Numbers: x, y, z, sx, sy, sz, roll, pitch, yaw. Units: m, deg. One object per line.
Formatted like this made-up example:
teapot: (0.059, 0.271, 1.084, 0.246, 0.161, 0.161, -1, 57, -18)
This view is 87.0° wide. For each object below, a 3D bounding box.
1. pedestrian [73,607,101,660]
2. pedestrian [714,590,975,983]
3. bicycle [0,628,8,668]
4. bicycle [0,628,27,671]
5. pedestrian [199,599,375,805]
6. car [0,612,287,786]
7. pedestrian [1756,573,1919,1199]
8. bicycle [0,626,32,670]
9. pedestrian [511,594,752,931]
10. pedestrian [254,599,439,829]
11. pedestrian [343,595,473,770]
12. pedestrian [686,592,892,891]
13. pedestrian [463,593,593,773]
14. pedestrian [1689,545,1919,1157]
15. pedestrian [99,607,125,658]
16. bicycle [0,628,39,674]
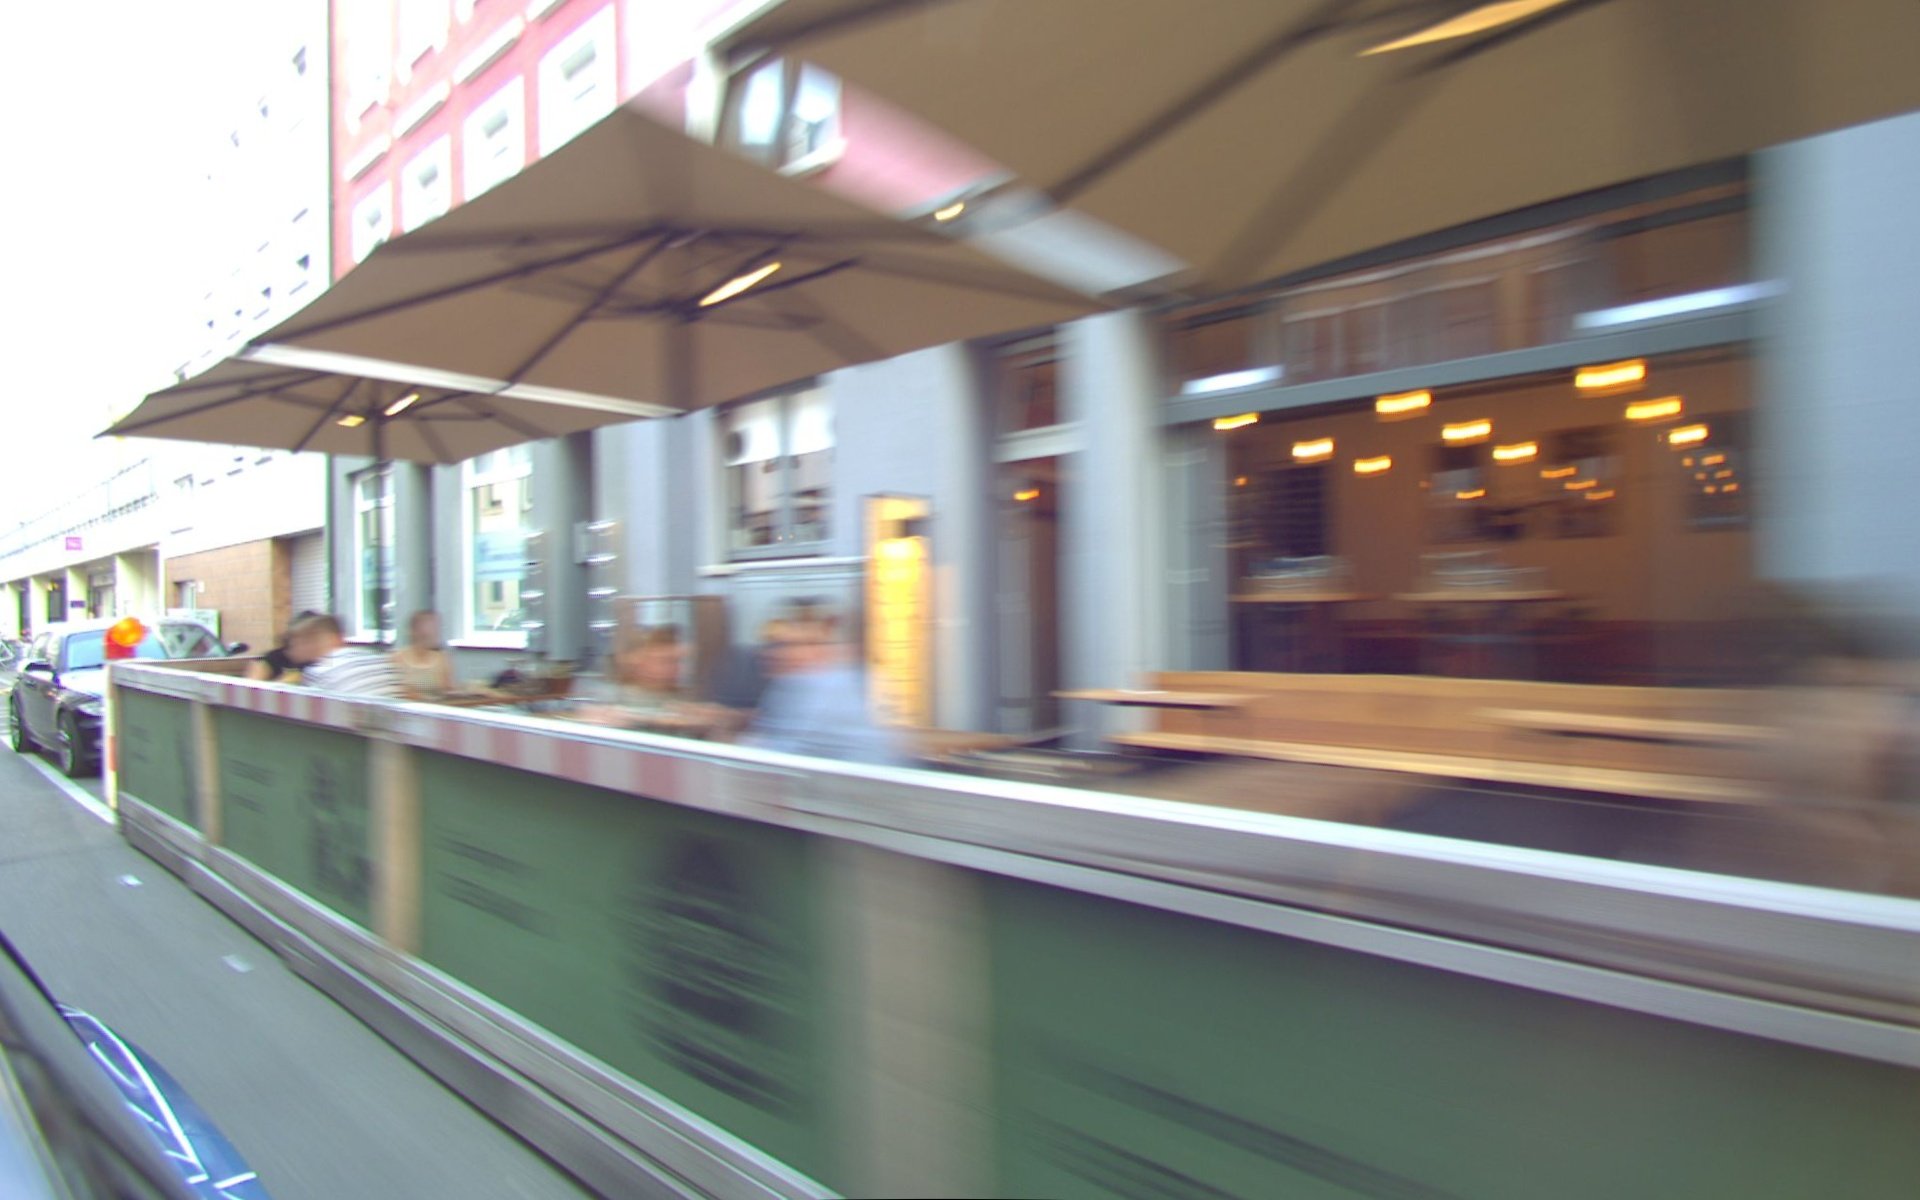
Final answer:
pedestrian: (-28.330, 1.088, 32.845, 0.632, 1.675, 0.719, -1, -1, -39)
pedestrian: (-0.349, 0.510, 3.171, 0.546, 1.070, 0.605, -1, 0, 33)
bicycle: (-29.731, 1.454, 29.806, 2.446, 1.187, 0.785, -1, 0, -43)
bicycle: (-27.956, 1.440, 28.499, 2.446, 1.187, 0.785, -1, 0, -43)
pedestrian: (-3.810, 0.538, 5.745, 0.546, 1.070, 0.665, -1, 0, 33)
car: (-8.809, 0.899, 10.710, 4.131, 1.471, 1.700, -1, 0, 40)
pedestrian: (1.383, 0.500, 1.267, 0.546, 1.070, 0.605, -1, 0, 33)
bicycle: (-27.265, 1.362, 27.924, 2.446, 1.187, 0.785, -1, 0, -43)
pedestrian: (-1.166, 0.517, 3.629, 0.546, 1.070, 0.605, -1, 0, 33)
pedestrian: (-3.136, 0.539, 5.189, 0.559, 1.075, 0.627, -1, 0, 33)
pedestrian: (-3.501, 0.495, 6.434, 0.491, 1.045, 0.553, -1, 0, 33)
pedestrian: (-0.671, 0.508, 4.040, 0.546, 1.070, 0.596, -1, 0, 33)
pedestrian: (-2.678, 0.485, 6.285, 0.491, 1.045, 0.553, -1, 0, 33)
pedestrian: (1.823, 0.435, 2.029, 0.546, 1.070, 0.605, -1, 0, 33)
pedestrian: (-28.184, 1.079, 33.653, 0.632, 1.675, 0.719, -1, -1, -39)
bicycle: (-26.541, 1.402, 27.341, 2.446, 1.187, 0.785, -1, 0, -43)
